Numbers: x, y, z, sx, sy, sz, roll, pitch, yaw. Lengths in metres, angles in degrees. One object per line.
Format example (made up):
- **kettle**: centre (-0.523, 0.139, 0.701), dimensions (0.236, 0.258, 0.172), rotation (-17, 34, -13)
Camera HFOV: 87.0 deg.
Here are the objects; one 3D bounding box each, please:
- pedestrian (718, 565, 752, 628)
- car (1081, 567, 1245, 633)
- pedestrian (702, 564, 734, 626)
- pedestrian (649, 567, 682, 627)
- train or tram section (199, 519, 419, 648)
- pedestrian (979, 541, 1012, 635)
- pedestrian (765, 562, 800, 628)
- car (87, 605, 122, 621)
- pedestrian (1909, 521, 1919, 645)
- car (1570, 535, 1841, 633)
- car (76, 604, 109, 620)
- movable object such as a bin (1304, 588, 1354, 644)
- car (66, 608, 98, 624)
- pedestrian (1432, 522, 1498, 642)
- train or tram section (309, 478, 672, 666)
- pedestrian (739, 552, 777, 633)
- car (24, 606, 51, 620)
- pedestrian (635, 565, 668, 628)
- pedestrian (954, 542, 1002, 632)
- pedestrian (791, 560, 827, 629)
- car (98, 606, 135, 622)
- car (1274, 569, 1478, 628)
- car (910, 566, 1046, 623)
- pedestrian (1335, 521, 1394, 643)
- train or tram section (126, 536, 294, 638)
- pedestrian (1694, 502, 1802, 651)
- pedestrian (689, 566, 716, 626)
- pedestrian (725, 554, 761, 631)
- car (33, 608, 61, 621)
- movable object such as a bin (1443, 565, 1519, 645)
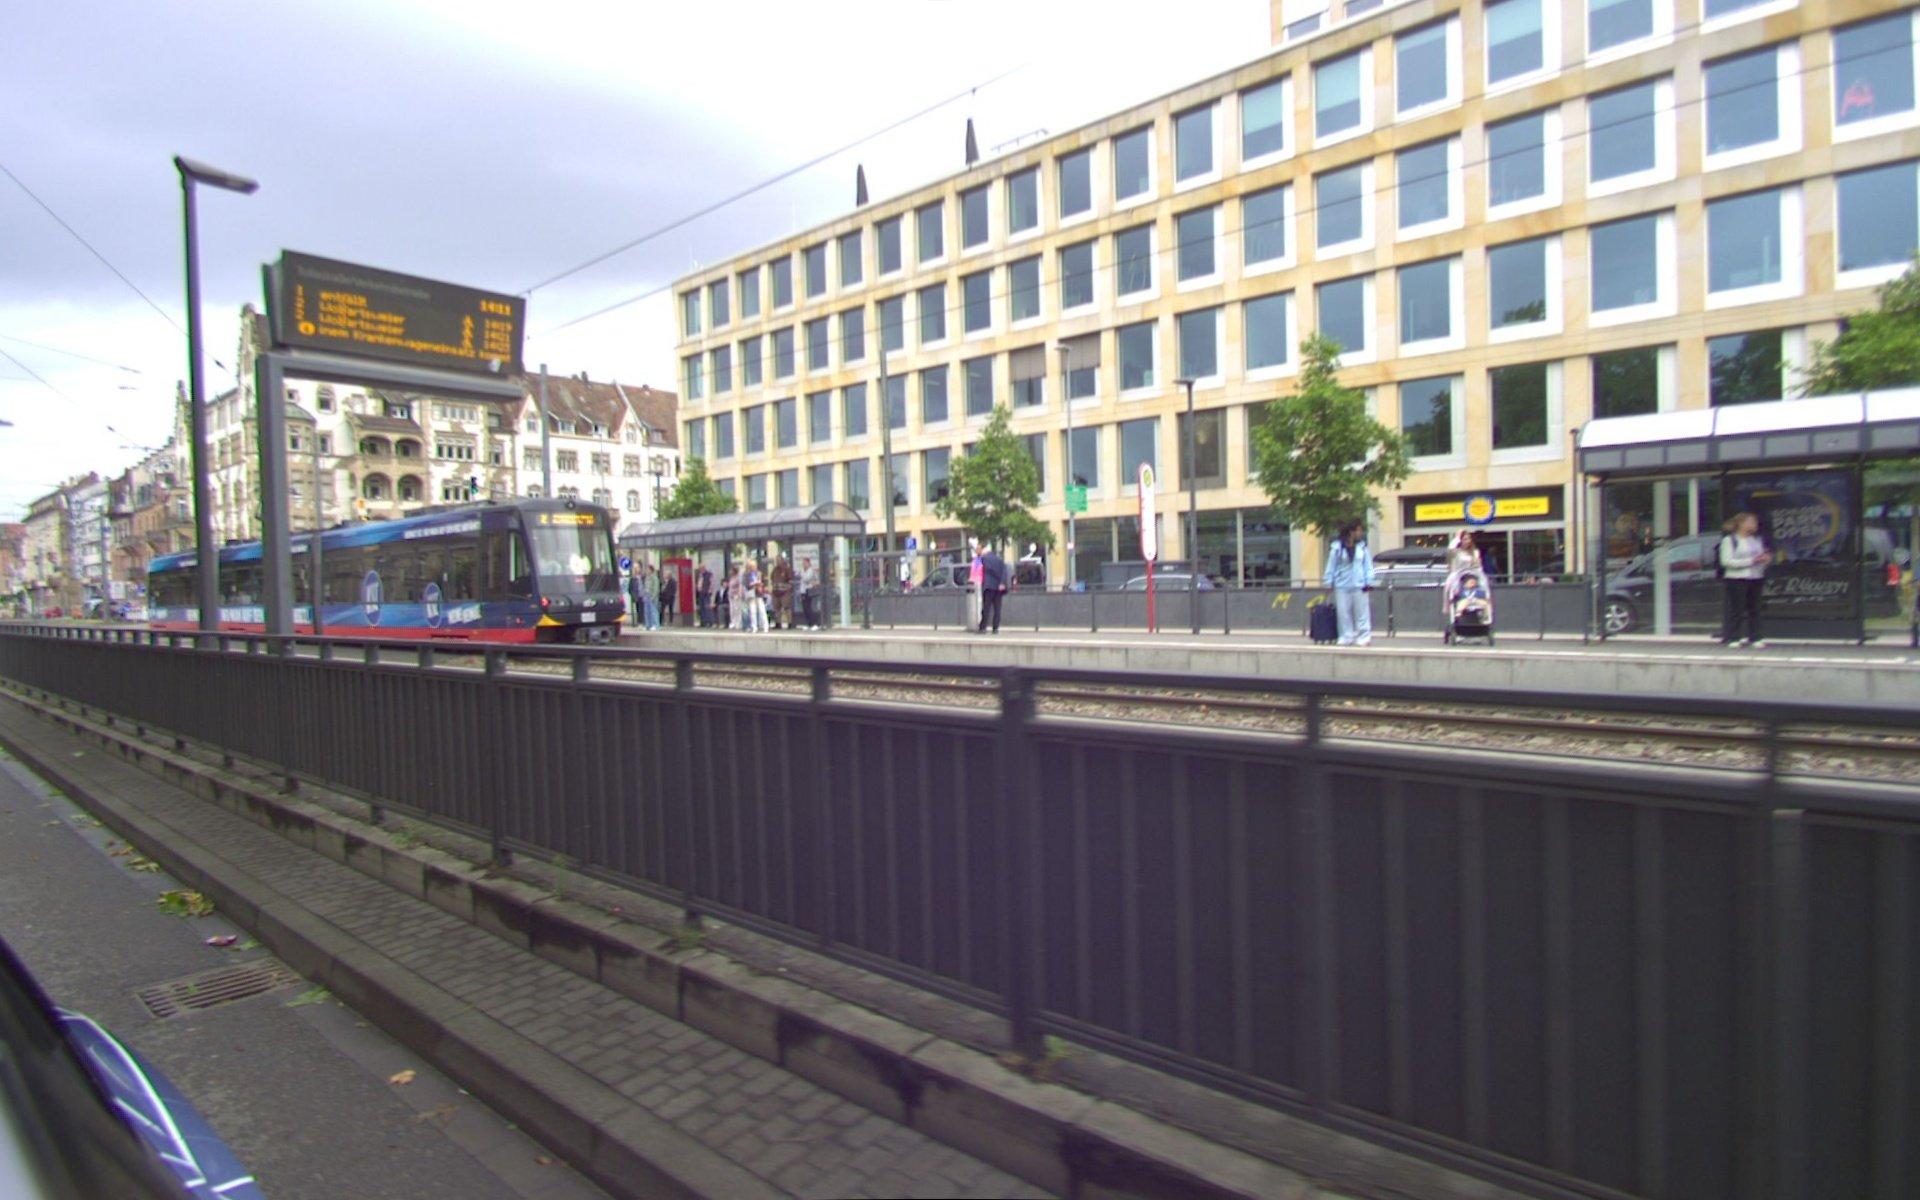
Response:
- **pedestrian**: centre (-5.731, -0.091, 25.835), dimensions (0.593, 1.599, 0.584), rotation (-1, 1, 23)
- **car**: centre (5.567, -0.036, 28.021), dimensions (4.000, 1.674, 1.972), rotation (0, 2, 43)
- **pedestrian**: centre (-6.401, -0.138, 26.770), dimensions (0.591, 1.599, 0.586), rotation (-1, 1, 12)
- **pedestrian**: centre (-7.969, -0.096, 27.425), dimensions (0.593, 1.599, 0.584), rotation (-1, 1, 23)
- **train or tram section**: centre (-21.899, -0.511, 33.593), dimensions (11.692, 3.667, 2.826), rotation (0, 2, 40)
- **pedestrian**: centre (0.697, -0.240, 19.641), dimensions (0.590, 1.782, 0.588), rotation (-1, 1, 4)
- **pedestrian**: centre (-4.328, -0.130, 24.695), dimensions (0.593, 1.599, 0.584), rotation (-1, 1, 23)
- **car**: centre (-88.102, 1.320, 104.177), dimensions (3.995, 1.608, 1.975), rotation (0, 2, 38)
- **pedestrian**: centre (11.309, -0.207, 11.365), dimensions (0.939, 1.382, 1.026), rotation (0, 2, 44)
- **car**: centre (14.235, -0.303, 19.432), dimensions (4.000, 1.674, 1.972), rotation (0, 2, 43)
- **car**: centre (-92.992, 1.315, 108.477), dimensions (3.995, 1.608, 1.975), rotation (0, 2, 38)
- **movable object such as a bin**: centre (5.180, 0.216, 14.209), dimensions (0.529, 0.753, 0.469), rotation (-2, 2, -42)
- **car**: centre (-97.978, 1.753, 112.901), dimensions (3.995, 1.608, 1.975), rotation (0, 2, 38)
- **pedestrian**: centre (6.985, -0.248, 14.014), dimensions (0.649, 1.619, 0.578), rotation (-1, 1, 8)
- **train or tram section**: centre (-12.385, -0.596, 25.416), dimensions (13.511, 3.719, 2.826), rotation (0, 2, 40)
- **pedestrian**: centre (-4.553, -0.169, 22.776), dimensions (0.588, 1.782, 0.589), rotation (-2, 2, -42)
- **car**: centre (-121.704, 1.700, 133.438), dimensions (3.995, 1.608, 1.975), rotation (0, 2, 38)
- **pedestrian**: centre (-7.967, -0.090, 26.123), dimensions (0.588, 1.599, 0.589), rotation (-2, 2, -42)
- **pedestrian**: centre (0.380, -0.285, 21.694), dimensions (0.690, 1.868, 0.721), rotation (-2, 2, -42)
- **pedestrian**: centre (-3.578, -0.129, 24.004), dimensions (0.593, 1.599, 0.584), rotation (-1, 1, 23)
- **car**: centre (-83.441, 1.401, 100.114), dimensions (3.995, 1.453, 1.975), rotation (0, 2, 38)
- **car**: centre (9.661, -0.052, 23.662), dimensions (4.000, 1.236, 1.876), rotation (0, 2, 43)
- **car**: centre (0.517, -0.184, 32.015), dimensions (4.000, 1.674, 1.972), rotation (0, 2, 43)
- **pedestrian**: centre (5.522, -0.248, 13.819), dimensions (0.529, 1.619, 0.566), rotation (-2, 2, -42)
- **train or tram section**: centre (-30.772, -0.515, 41.220), dimensions (11.757, 3.667, 2.826), rotation (0, 2, 40)
- **pedestrian**: centre (9.570, -0.287, 12.286), dimensions (0.939, 1.698, 1.026), rotation (0, 2, 44)
- **pedestrian**: centre (-6.986, -0.118, 27.479), dimensions (0.589, 1.599, 0.589), rotation (-1, 1, -2)
- **pedestrian**: centre (-5.108, -0.184, 23.834), dimensions (0.588, 1.782, 0.589), rotation (-2, 2, -42)
- **car**: centre (-116.722, 1.869, 129.401), dimensions (3.995, 1.608, 1.975), rotation (0, 2, 38)
- **movable object such as a bin**: centre (6.907, 0.055, 13.444), dimensions (0.714, 1.029, 0.620), rotation (-1, 1, 8)
